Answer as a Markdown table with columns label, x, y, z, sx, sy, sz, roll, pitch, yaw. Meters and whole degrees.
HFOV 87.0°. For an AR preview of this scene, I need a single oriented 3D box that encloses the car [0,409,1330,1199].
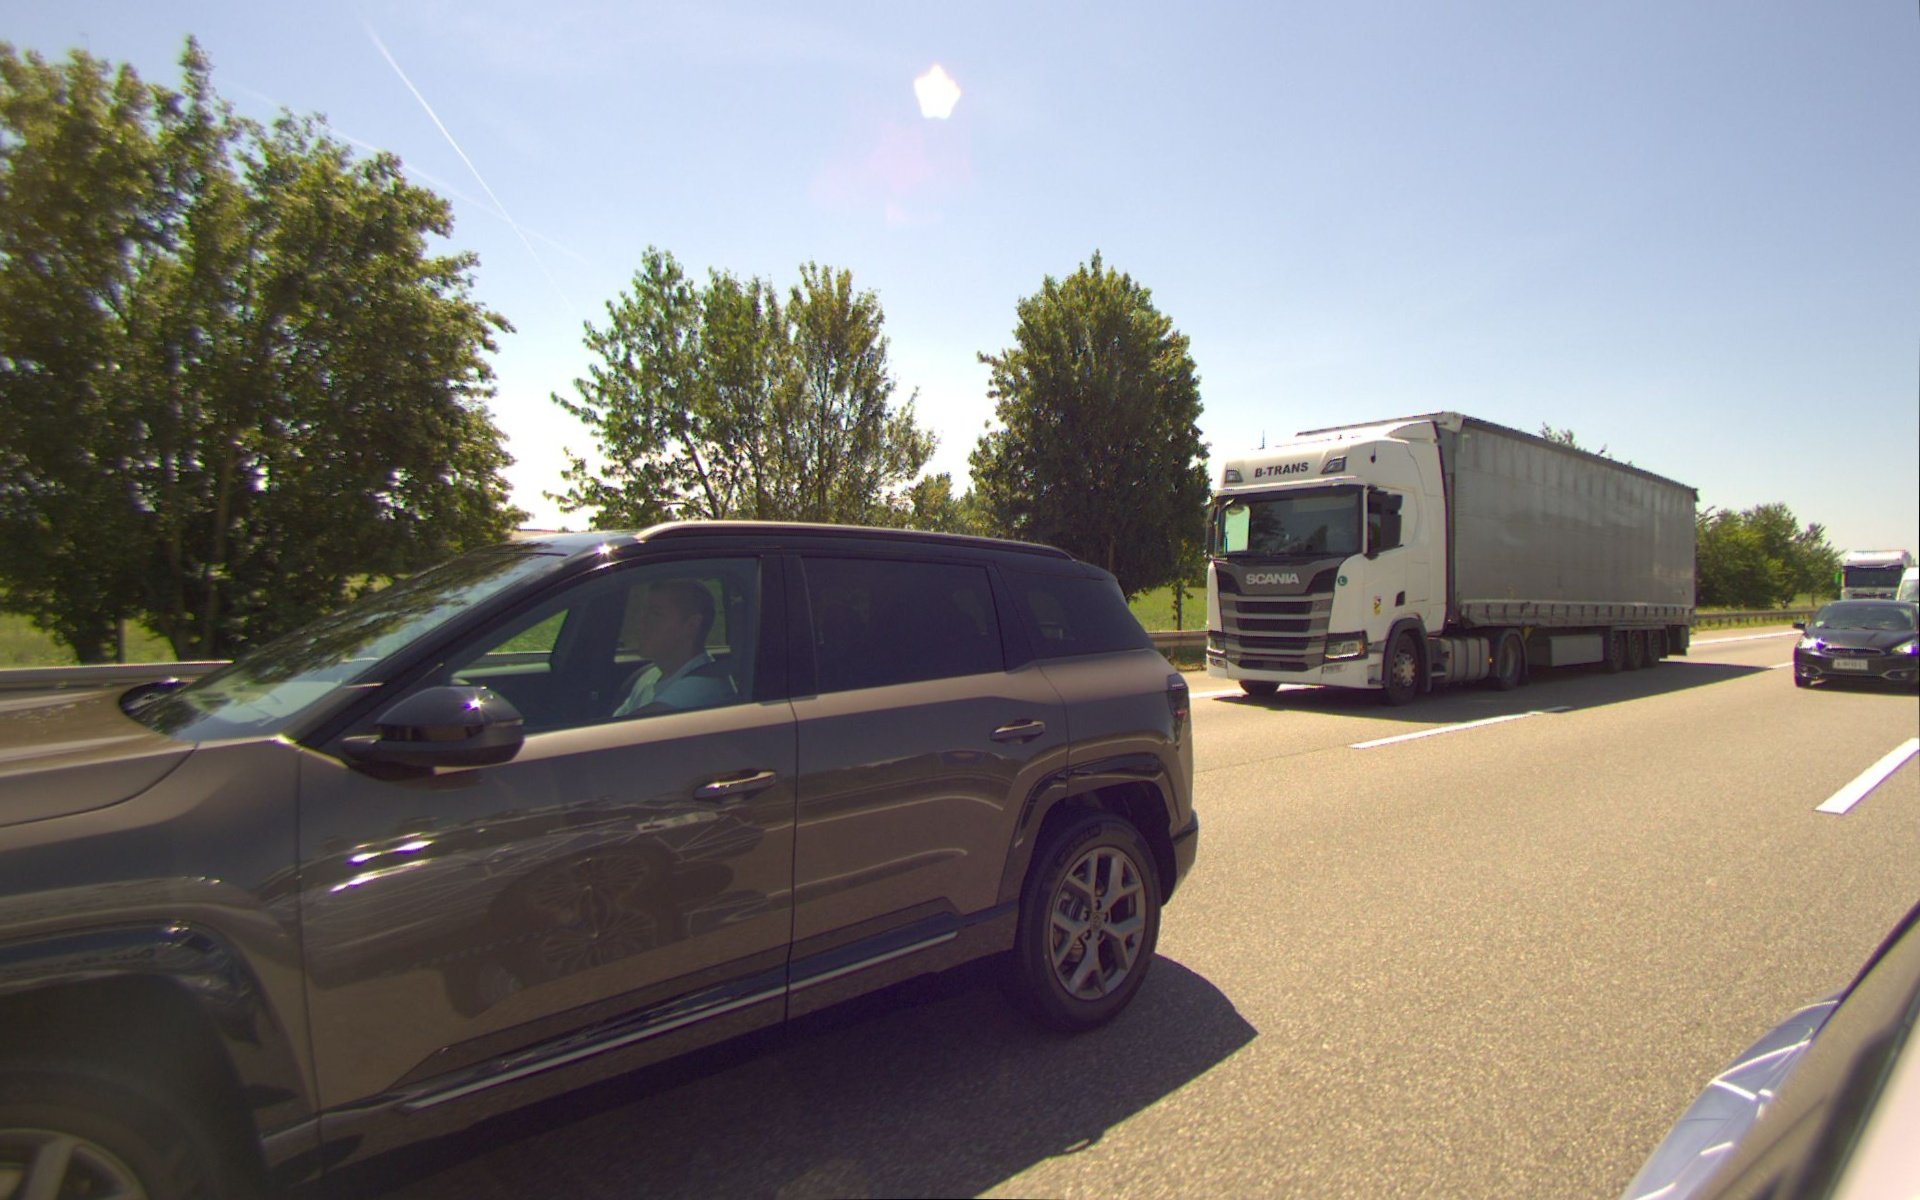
| label | x | y | z | sx | sy | sz | roll | pitch | yaw |
| --- | --- | --- | --- | --- | --- | --- | --- | --- | --- |
| car | -0.850 | 0.534 | 3.353 | 4.663 | 1.696 | 1.870 | -1 | 0 | -41 |

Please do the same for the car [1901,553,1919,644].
| label | x | y | z | sx | sy | sz | roll | pitch | yaw |
| --- | --- | --- | --- | --- | --- | --- | --- | --- | --- |
| car | 29.496 | -0.071 | 29.735 | 5.843 | 2.540 | 2.156 | -1 | 0 | -41 |

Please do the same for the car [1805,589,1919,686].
| label | x | y | z | sx | sy | sz | roll | pitch | yaw |
| --- | --- | --- | --- | --- | --- | --- | --- | --- | --- |
| car | 15.723 | 0.574 | 17.167 | 3.374 | 1.492 | 1.690 | 0 | 1 | -42 |

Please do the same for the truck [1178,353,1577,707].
| label | x | y | z | sx | sy | sz | roll | pitch | yaw |
| --- | --- | --- | --- | --- | --- | --- | --- | --- | --- |
| truck | 6.750 | -0.897 | 15.806 | 7.066 | 4.359 | 2.815 | 0 | 0 | -40 |

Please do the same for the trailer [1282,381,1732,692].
| label | x | y | z | sx | sy | sz | roll | pitch | yaw |
| --- | --- | --- | --- | --- | --- | --- | --- | --- | --- |
| trailer | 11.469 | -0.951 | 19.799 | 14.002 | 4.359 | 2.815 | -1 | 0 | -40 |

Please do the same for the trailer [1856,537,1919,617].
| label | x | y | z | sx | sy | sz | roll | pitch | yaw |
| --- | --- | --- | --- | --- | --- | --- | --- | --- | --- |
| trailer | 52.982 | -1.180 | 55.984 | 13.706 | 4.016 | 2.699 | 0 | 0 | -38 |

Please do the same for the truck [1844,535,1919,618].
| label | x | y | z | sx | sy | sz | roll | pitch | yaw |
| --- | --- | --- | --- | --- | --- | --- | --- | --- | --- |
| truck | 48.386 | -1.158 | 52.342 | 7.563 | 4.016 | 2.699 | 0 | 0 | -38 |
